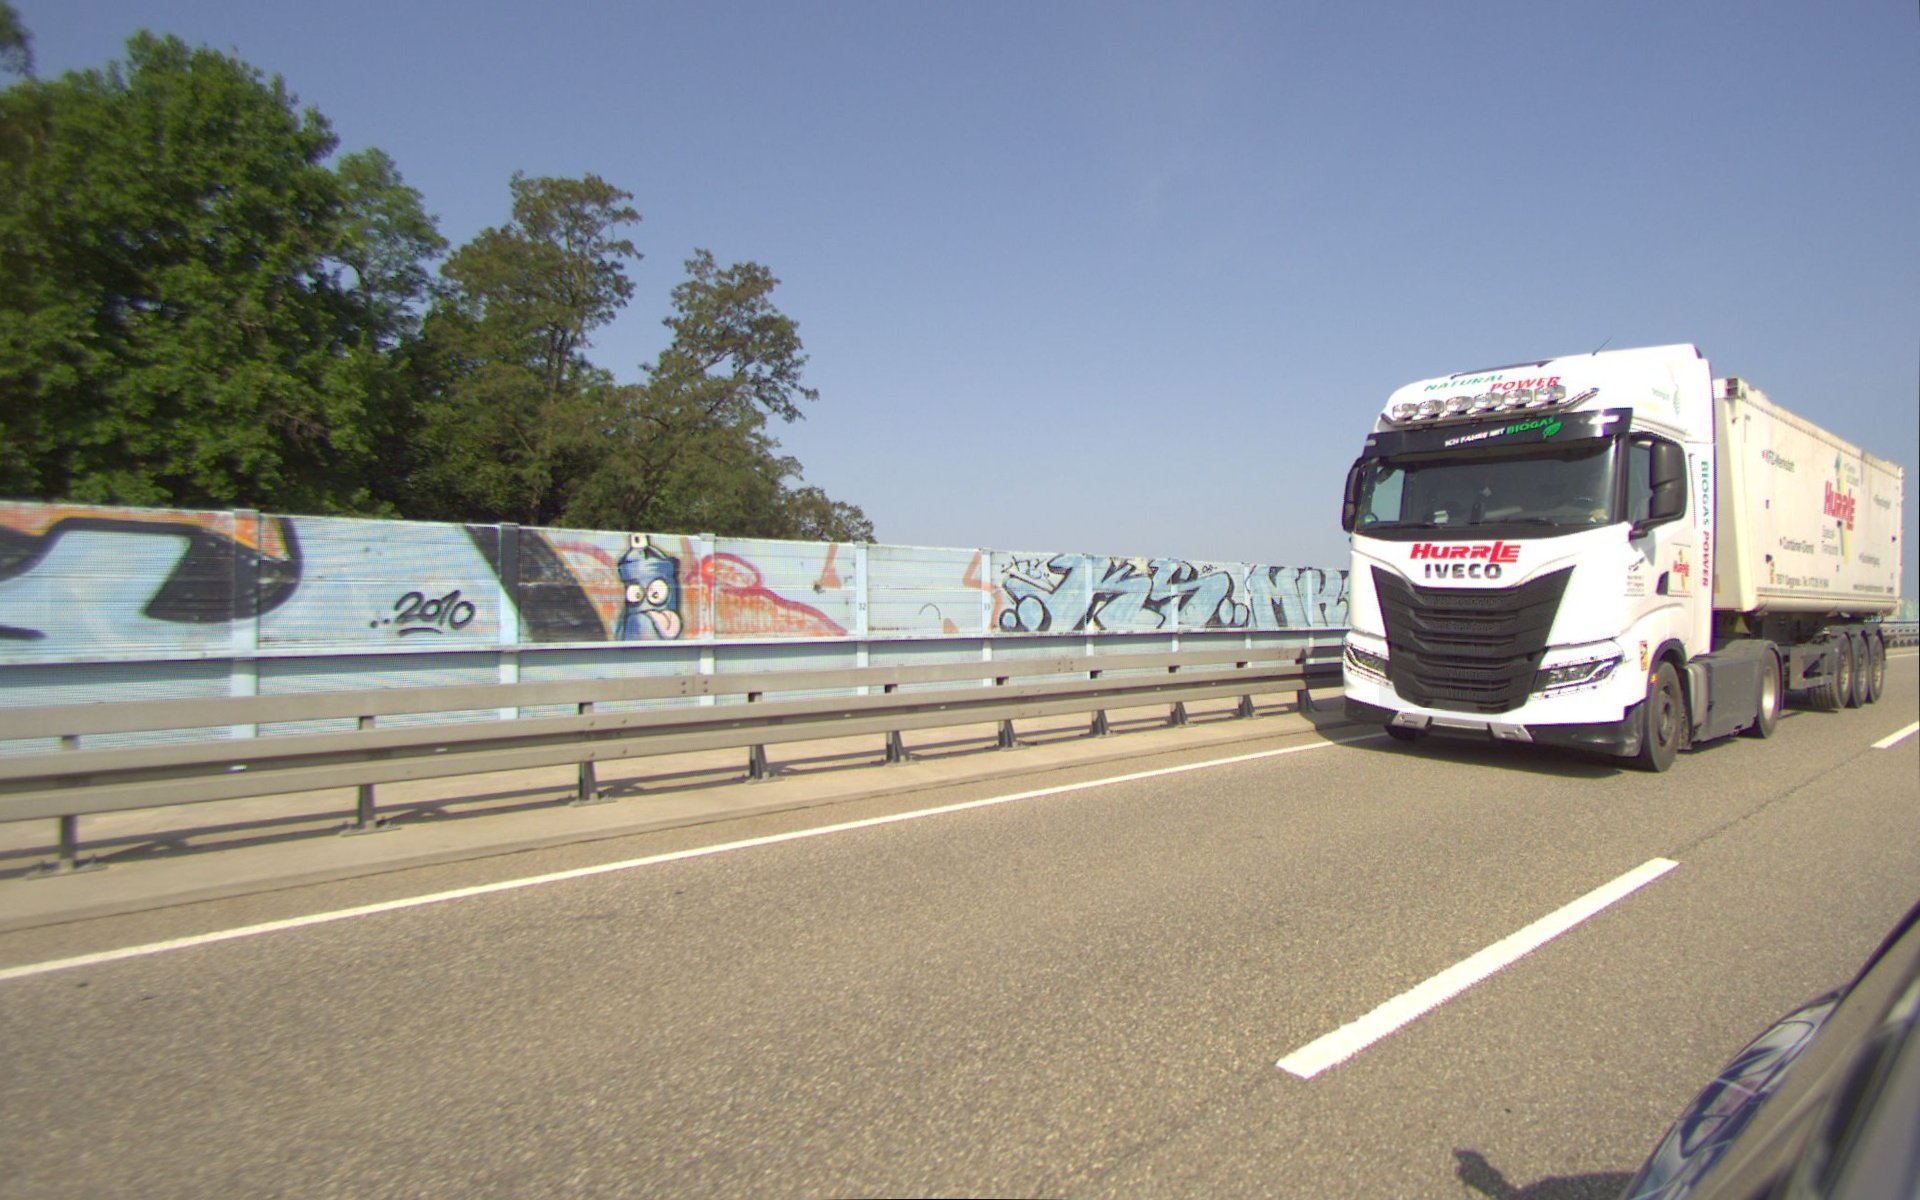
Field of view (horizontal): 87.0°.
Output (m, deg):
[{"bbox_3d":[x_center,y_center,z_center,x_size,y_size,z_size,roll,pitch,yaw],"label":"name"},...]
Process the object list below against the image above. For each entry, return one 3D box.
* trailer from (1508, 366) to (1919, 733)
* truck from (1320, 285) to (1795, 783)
[{"bbox_3d":[11.552,-0.520,14.955,9.498,3.957,2.685,1,0,-39],"label":"trailer"},{"bbox_3d":[6.571,-0.542,10.835,5.547,3.945,2.664,0,0,-40],"label":"truck"}]
